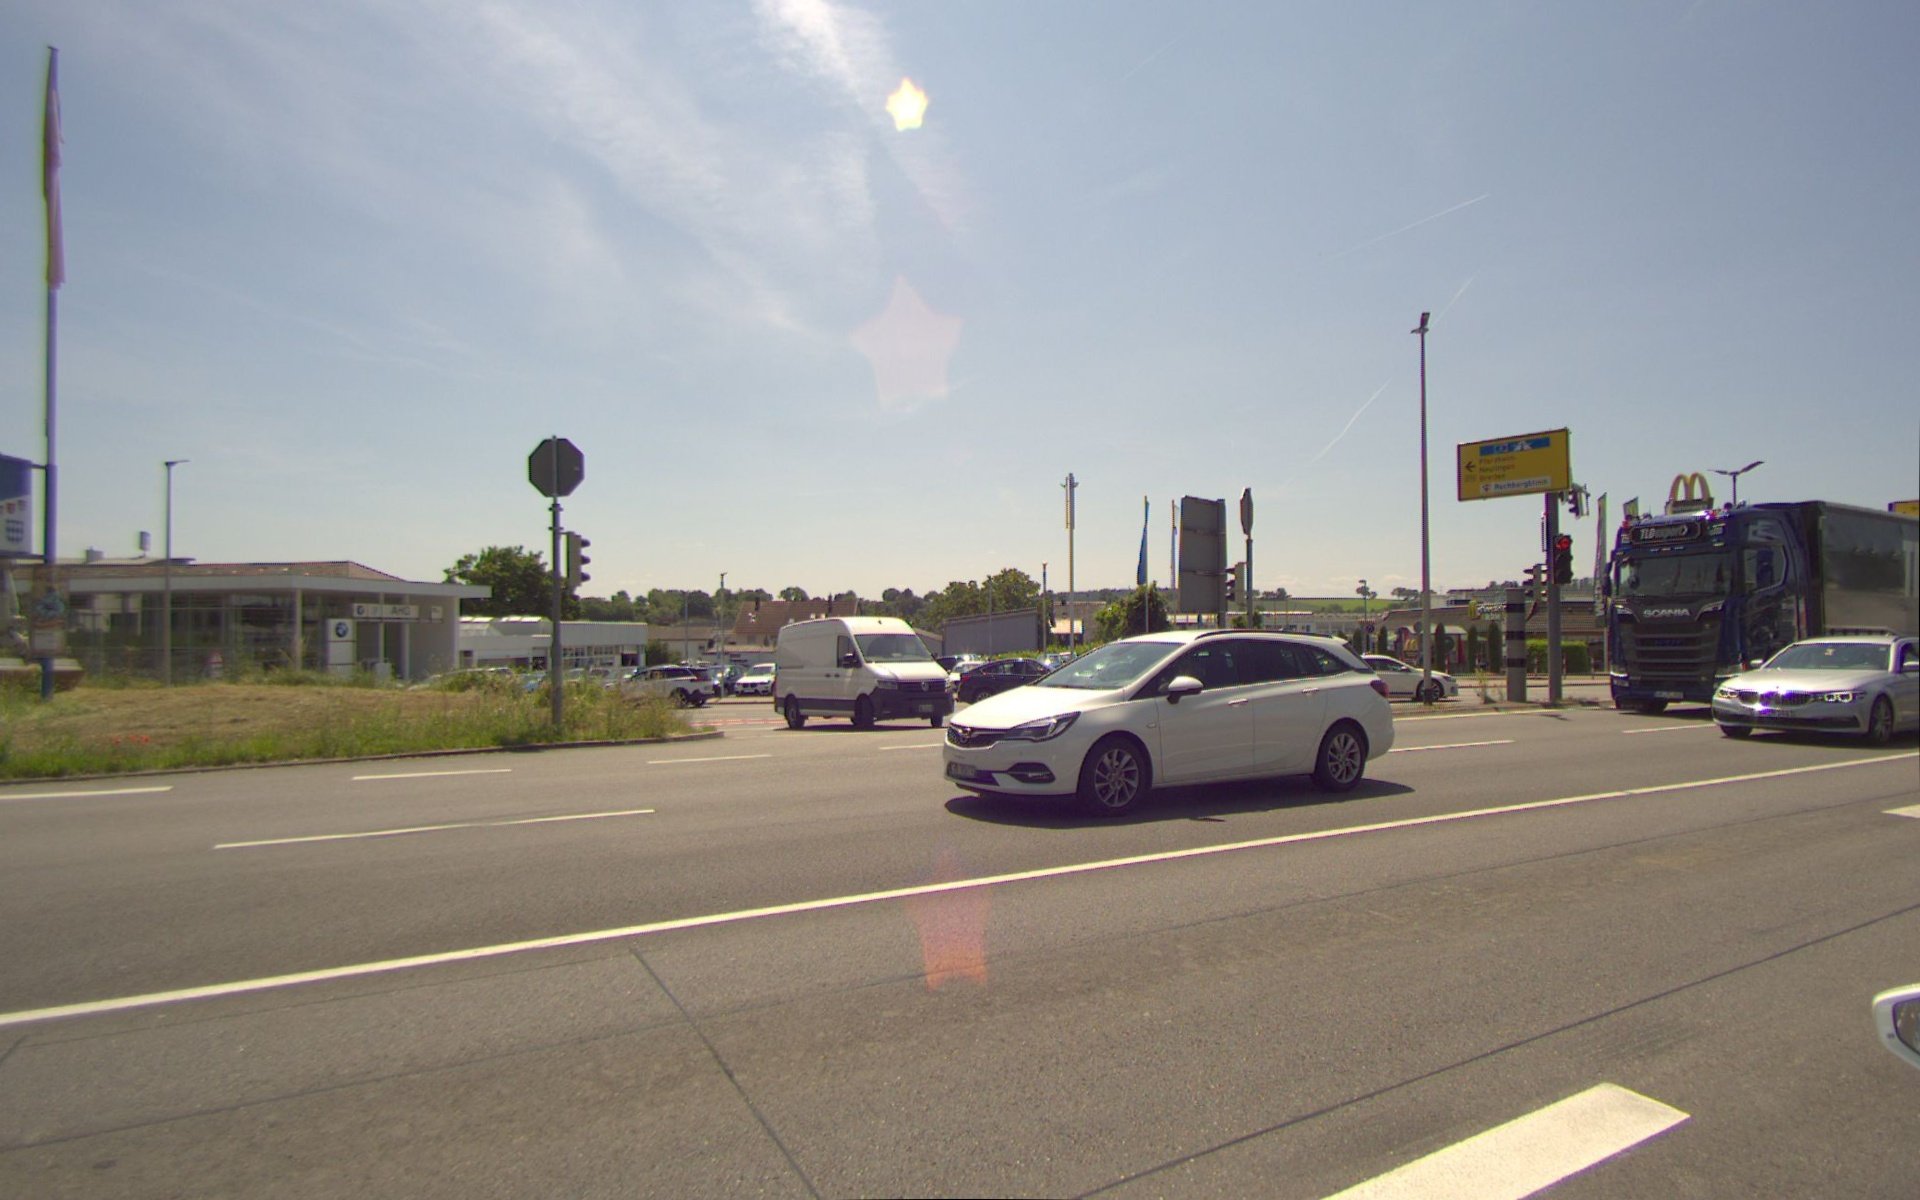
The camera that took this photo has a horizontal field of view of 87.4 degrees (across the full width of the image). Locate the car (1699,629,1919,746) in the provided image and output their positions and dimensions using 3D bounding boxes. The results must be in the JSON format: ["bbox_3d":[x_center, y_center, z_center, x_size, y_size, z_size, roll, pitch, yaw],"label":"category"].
[{"bbox_3d":[13.385,1.222,15.154,4.888,1.528,1.802,2,-2,-30],"label":"car"}]

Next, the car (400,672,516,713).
[{"bbox_3d":[-21.002,3.861,42.079,4.113,1.622,1.751,-1,-3,10],"label":"car"}]

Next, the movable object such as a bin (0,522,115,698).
[{"bbox_3d":[-21.354,0.208,20.260,6.654,3.342,3.055,0,-2,12],"label":"movable object such as a bin"}]

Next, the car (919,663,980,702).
[{"bbox_3d":[-0.422,3.744,46.217,1.715,1.622,4.201,-1,-3,15],"label":"car"}]

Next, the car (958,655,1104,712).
[{"bbox_3d":[2.245,2.584,31.182,4.321,1.621,1.751,-2,-3,10],"label":"car"}]

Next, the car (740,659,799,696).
[{"bbox_3d":[-8.983,3.626,47.673,1.715,1.622,4.201,0,-3,4],"label":"car"}]

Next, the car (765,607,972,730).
[{"bbox_3d":[-2.349,1.689,23.622,2.173,2.519,5.955,1,-6,-35],"label":"car"}]

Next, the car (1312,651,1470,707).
[{"bbox_3d":[12.491,2.280,29.322,3.932,1.500,1.791,0,-2,11],"label":"car"}]

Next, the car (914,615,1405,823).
[{"bbox_3d":[1.907,1.002,9.210,4.353,1.523,1.733,3,-4,-29],"label":"car"}]

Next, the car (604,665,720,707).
[{"bbox_3d":[-12.025,3.451,40.619,4.113,1.622,1.751,-1,-3,10],"label":"car"}]

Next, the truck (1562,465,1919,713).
[{"bbox_3d":[20.670,0.014,23.377,17.327,4.406,3.133,1,-2,-29],"label":"truck"}]

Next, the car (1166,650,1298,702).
[{"bbox_3d":[8.972,2.501,33.413,4.112,1.622,1.751,0,-2,10],"label":"car"}]

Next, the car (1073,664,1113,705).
[{"bbox_3d":[5.989,3.792,45.405,1.503,1.584,3.457,2,-1,3],"label":"car"}]

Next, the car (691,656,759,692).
[{"bbox_3d":[-11.165,3.505,48.046,1.960,1.484,4.002,2,-1,5],"label":"car"}]
